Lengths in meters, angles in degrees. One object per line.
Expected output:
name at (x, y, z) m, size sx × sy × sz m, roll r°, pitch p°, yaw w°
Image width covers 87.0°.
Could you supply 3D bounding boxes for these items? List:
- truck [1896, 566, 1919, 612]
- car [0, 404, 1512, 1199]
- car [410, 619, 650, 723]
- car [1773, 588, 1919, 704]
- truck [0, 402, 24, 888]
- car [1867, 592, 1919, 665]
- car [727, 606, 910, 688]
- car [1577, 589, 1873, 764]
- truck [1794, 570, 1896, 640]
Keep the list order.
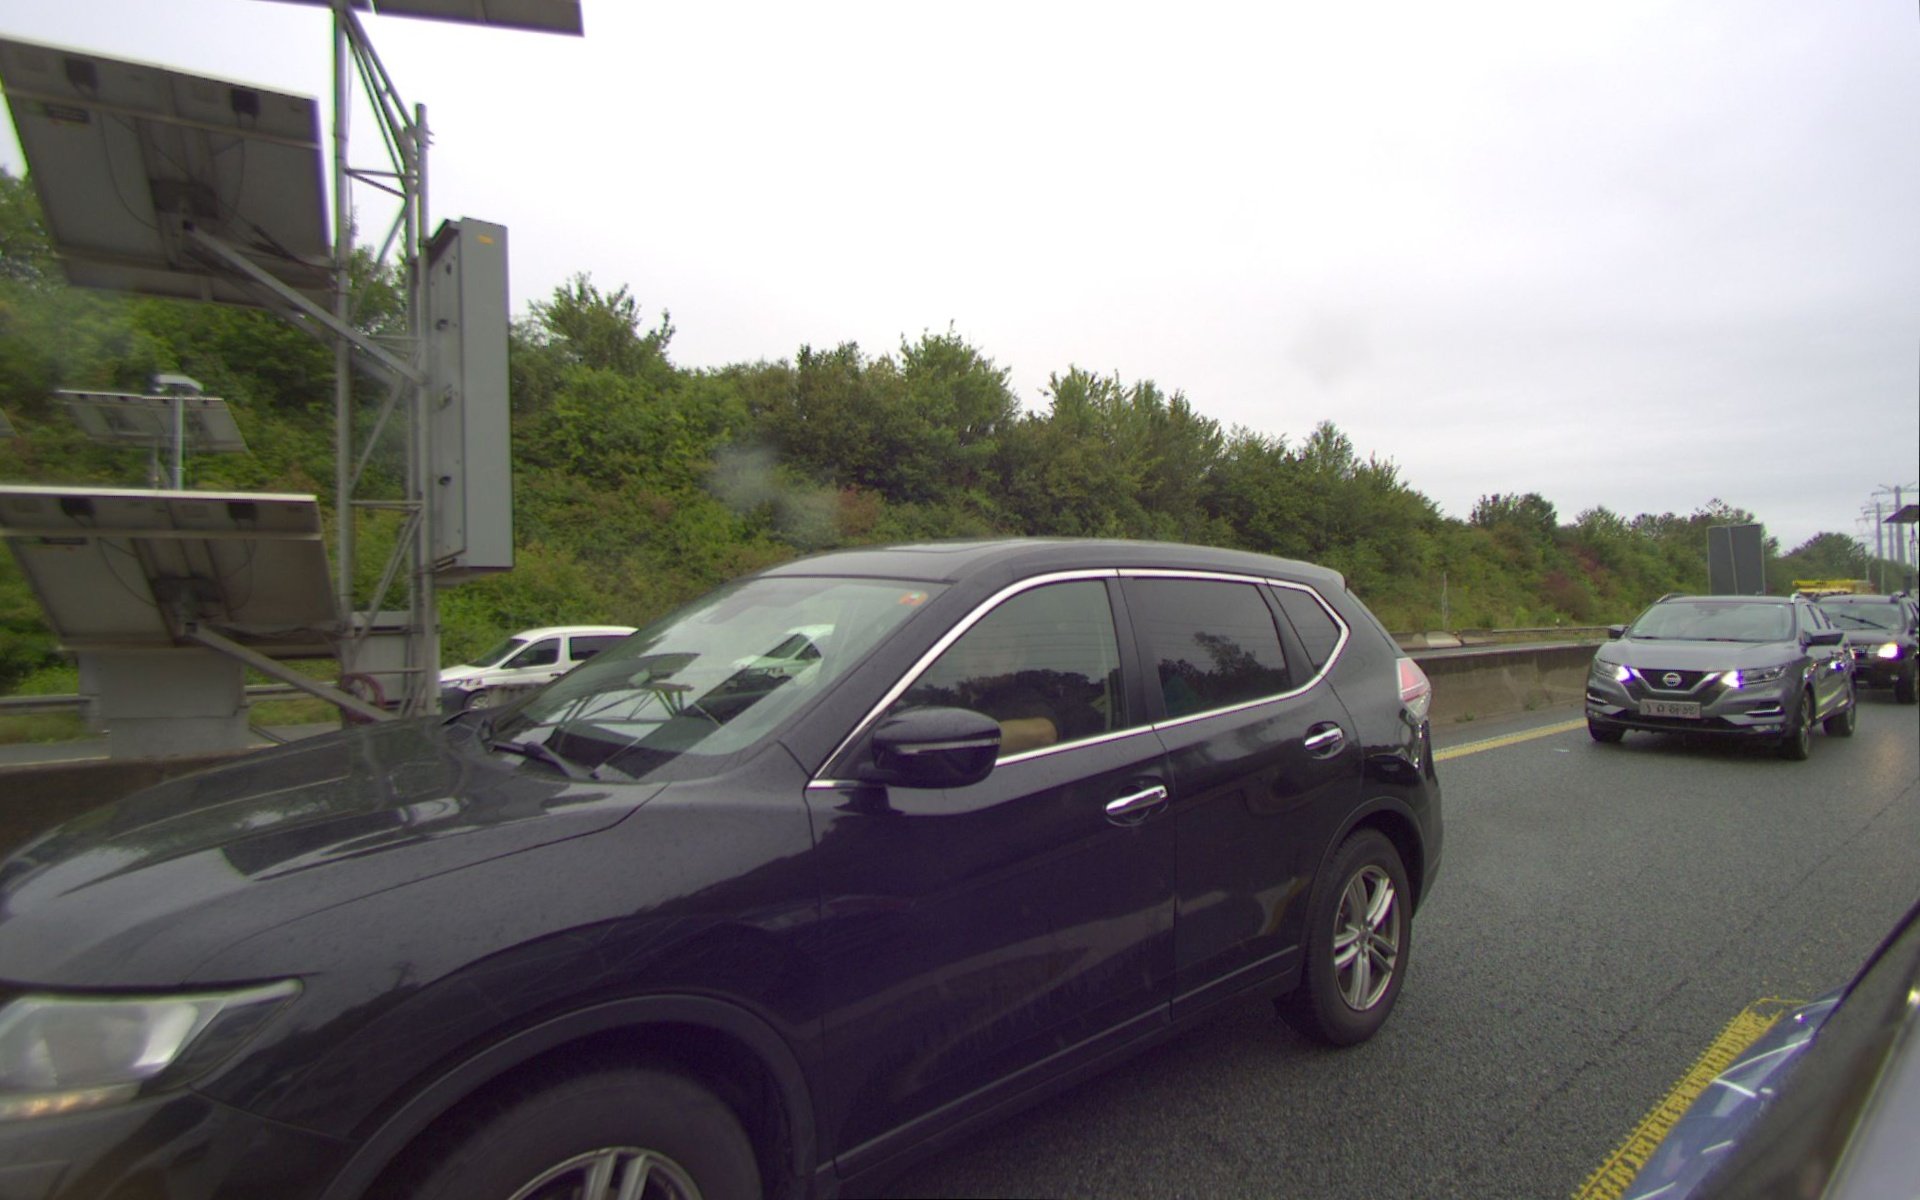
truck at (76.613, -0.862, 79.437) m, size 9.404 × 3.467 × 3.328 m, roll -1°, pitch 0°, yaw -39°
car at (-0.123, 0.605, 3.222) m, size 4.561 × 1.696 × 1.892 m, roll -1°, pitch 1°, yaw -42°
car at (-8.670, 1.343, 20.624) m, size 4.195 × 1.780 × 1.731 m, roll -1°, pitch 0°, yaw -42°
car at (14.497, 0.626, 16.121) m, size 4.053 × 1.618 × 1.782 m, roll -1°, pitch 1°, yaw -42°
truck at (-10.150, 0.324, 4.275) m, size 8.958 × 3.171 × 2.525 m, roll -1°, pitch 0°, yaw -40°
car at (21.800, 0.591, 22.651) m, size 4.053 × 1.509 × 1.782 m, roll -1°, pitch 1°, yaw -42°
car at (-3.428, 1.073, 25.042) m, size 4.255 × 1.792 × 1.731 m, roll -1°, pitch 0°, yaw -42°
car at (8.274, 0.646, 10.815) m, size 4.053 × 1.509 × 1.782 m, roll -1°, pitch 1°, yaw -42°
truck at (47.432, 0.180, 54.142) m, size 9.404 × 3.467 × 2.618 m, roll -1°, pitch 0°, yaw -39°
